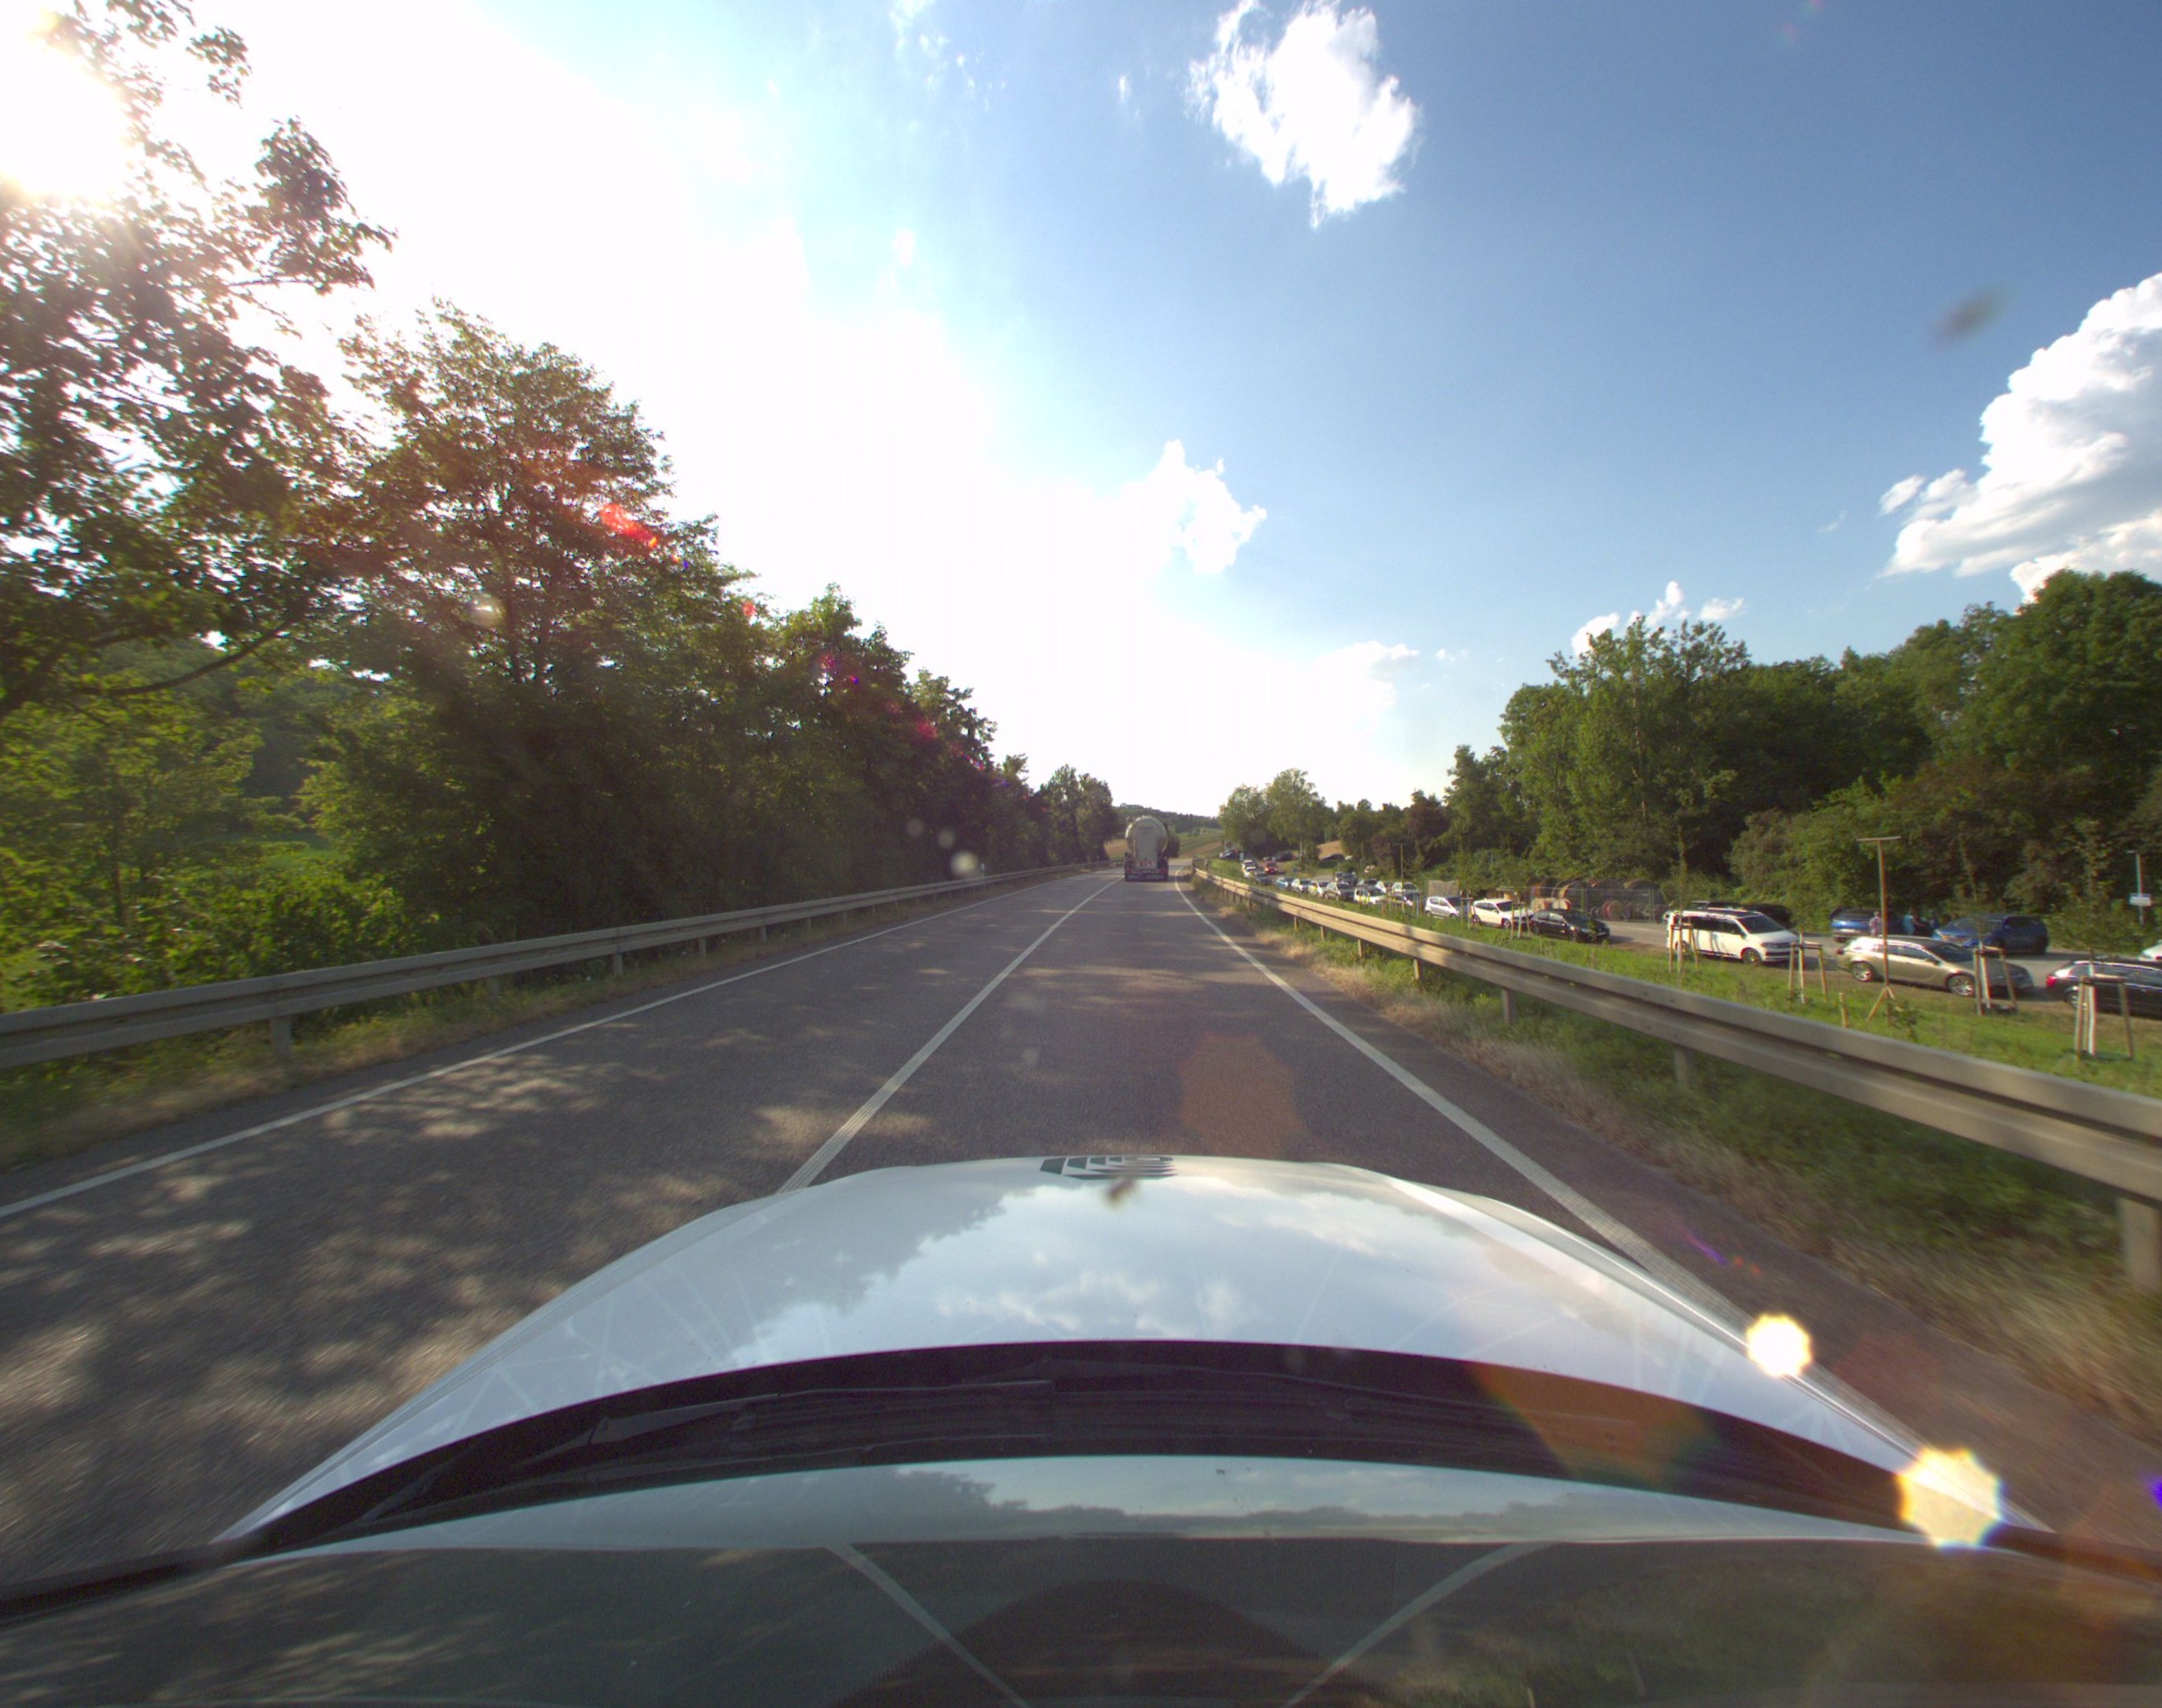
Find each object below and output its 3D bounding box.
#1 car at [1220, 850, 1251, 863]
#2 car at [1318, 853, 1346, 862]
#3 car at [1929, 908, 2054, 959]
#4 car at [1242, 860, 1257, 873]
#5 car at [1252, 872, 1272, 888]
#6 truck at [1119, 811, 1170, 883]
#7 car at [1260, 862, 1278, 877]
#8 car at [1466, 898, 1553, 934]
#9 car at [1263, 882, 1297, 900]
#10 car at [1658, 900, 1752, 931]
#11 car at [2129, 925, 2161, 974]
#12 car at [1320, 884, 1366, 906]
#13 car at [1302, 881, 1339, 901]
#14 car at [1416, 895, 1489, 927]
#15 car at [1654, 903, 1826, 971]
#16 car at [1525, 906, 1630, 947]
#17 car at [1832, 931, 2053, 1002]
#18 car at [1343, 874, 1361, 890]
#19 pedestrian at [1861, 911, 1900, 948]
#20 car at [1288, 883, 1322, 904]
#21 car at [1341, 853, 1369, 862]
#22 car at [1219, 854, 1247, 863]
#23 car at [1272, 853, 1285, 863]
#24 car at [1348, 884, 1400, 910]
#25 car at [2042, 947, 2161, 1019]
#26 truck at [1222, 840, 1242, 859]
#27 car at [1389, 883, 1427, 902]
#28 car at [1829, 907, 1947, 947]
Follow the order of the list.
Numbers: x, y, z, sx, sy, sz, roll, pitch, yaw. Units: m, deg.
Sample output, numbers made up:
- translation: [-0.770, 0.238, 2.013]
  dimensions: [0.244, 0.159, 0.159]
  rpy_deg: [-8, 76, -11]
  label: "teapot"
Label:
- translation: [26.613, 0.432, 140.314]
  dimensions: [5.107, 1.943, 1.981]
  rpy_deg: [4, 2, 11]
  label: "car"
- translation: [45.432, 0.672, 147.348]
  dimensions: [4.648, 1.507, 1.985]
  rpy_deg: [0, 0, -23]
  label: "car"
- translation: [37.465, 3.229, 33.518]
  dimensions: [4.242, 1.742, 1.823]
  rpy_deg: [0, 0, -17]
  label: "car"
- translation: [25.325, 1.933, 122.366]
  dimensions: [1.878, 1.559, 4.802]
  rpy_deg: [-4, 1, 14]
  label: "car"
- translation: [22.200, 3.145, 100.241]
  dimensions: [1.882, 1.559, 4.793]
  rpy_deg: [-4, 1, 7]
  label: "car"
- translation: [4.041, -0.358, 53.694]
  dimensions: [2.881, 4.143, 13.182]
  rpy_deg: [-1, 0, 3]
  label: "truck"
- translation: [26.861, 2.213, 116.325]
  dimensions: [1.882, 1.686, 5.097]
  rpy_deg: [-4, 1, 7]
  label: "car"
- translation: [25.088, 3.598, 47.913]
  dimensions: [1.893, 1.559, 4.765]
  rpy_deg: [-5, 1, -11]
  label: "car"
- translation: [21.553, 3.967, 88.450]
  dimensions: [1.891, 1.559, 4.770]
  rpy_deg: [-5, 1, -8]
  label: "car"
- translation: [34.652, 3.381, 45.257]
  dimensions: [4.235, 1.490, 1.827]
  rpy_deg: [0, 0, -11]
  label: "car"
- translation: [38.157, 3.252, 27.666]
  dimensions: [4.242, 1.498, 1.762]
  rpy_deg: [0, 0, -17]
  label: "car"
- translation: [22.974, 3.578, 71.701]
  dimensions: [1.891, 1.559, 4.770]
  rpy_deg: [-5, 1, -8]
  label: "car"
- translation: [22.721, 3.478, 77.402]
  dimensions: [1.887, 1.559, 4.778]
  rpy_deg: [-1, 1, -3]
  label: "car"
- translation: [24.337, 3.711, 53.584]
  dimensions: [1.893, 1.559, 4.765]
  rpy_deg: [-5, 1, -11]
  label: "car"
- translation: [27.009, 3.318, 33.689]
  dimensions: [2.120, 2.017, 5.359]
  rpy_deg: [-5, 1, -11]
  label: "car"
- translation: [25.484, 3.683, 42.038]
  dimensions: [1.893, 1.482, 4.765]
  rpy_deg: [-5, 1, -11]
  label: "car"
- translation: [28.335, 3.640, 27.065]
  dimensions: [1.893, 1.482, 4.765]
  rpy_deg: [-5, 1, -11]
  label: "car"
- translation: [29.839, 3.104, 89.880]
  dimensions: [1.687, 1.398, 4.807]
  rpy_deg: [-4, 0, 17]
  label: "car"
- translation: [34.968, 3.297, 35.632]
  dimensions: [0.910, 1.471, 0.893]
  rpy_deg: [-3, 1, 23]
  label: "pedestrian"
- translation: [22.605, 3.964, 82.396]
  dimensions: [1.888, 1.559, 4.777]
  rpy_deg: [-5, 1, -3]
  label: "car"
- translation: [50.318, 0.613, 149.476]
  dimensions: [4.648, 1.507, 1.985]
  rpy_deg: [0, 0, -23]
  label: "car"
- translation: [25.474, 0.749, 136.570]
  dimensions: [4.318, 1.399, 1.712]
  rpy_deg: [3, 1, -16]
  label: "car"
- translation: [33.458, 0.659, 137.975]
  dimensions: [1.880, 1.675, 4.795]
  rpy_deg: [0, -1, 10]
  label: "car"
- translation: [23.555, 3.427, 65.651]
  dimensions: [1.891, 1.559, 4.770]
  rpy_deg: [-5, 1, -8]
  label: "car"
- translation: [29.393, 3.562, 21.808]
  dimensions: [1.821, 1.482, 4.373]
  rpy_deg: [-3, 1, -15]
  label: "car"
- translation: [34.711, -1.151, 186.567]
  dimensions: [3.160, 4.227, 13.227]
  rpy_deg: [-2, 1, 15]
  label: "truck"
- translation: [28.792, 3.375, 71.785]
  dimensions: [1.696, 1.510, 3.943]
  rpy_deg: [-2, 0, -1]
  label: "car"
- translation: [36.825, 3.297, 37.192]
  dimensions: [4.236, 1.604, 1.826]
  rpy_deg: [0, -1, -12]
  label: "car"
